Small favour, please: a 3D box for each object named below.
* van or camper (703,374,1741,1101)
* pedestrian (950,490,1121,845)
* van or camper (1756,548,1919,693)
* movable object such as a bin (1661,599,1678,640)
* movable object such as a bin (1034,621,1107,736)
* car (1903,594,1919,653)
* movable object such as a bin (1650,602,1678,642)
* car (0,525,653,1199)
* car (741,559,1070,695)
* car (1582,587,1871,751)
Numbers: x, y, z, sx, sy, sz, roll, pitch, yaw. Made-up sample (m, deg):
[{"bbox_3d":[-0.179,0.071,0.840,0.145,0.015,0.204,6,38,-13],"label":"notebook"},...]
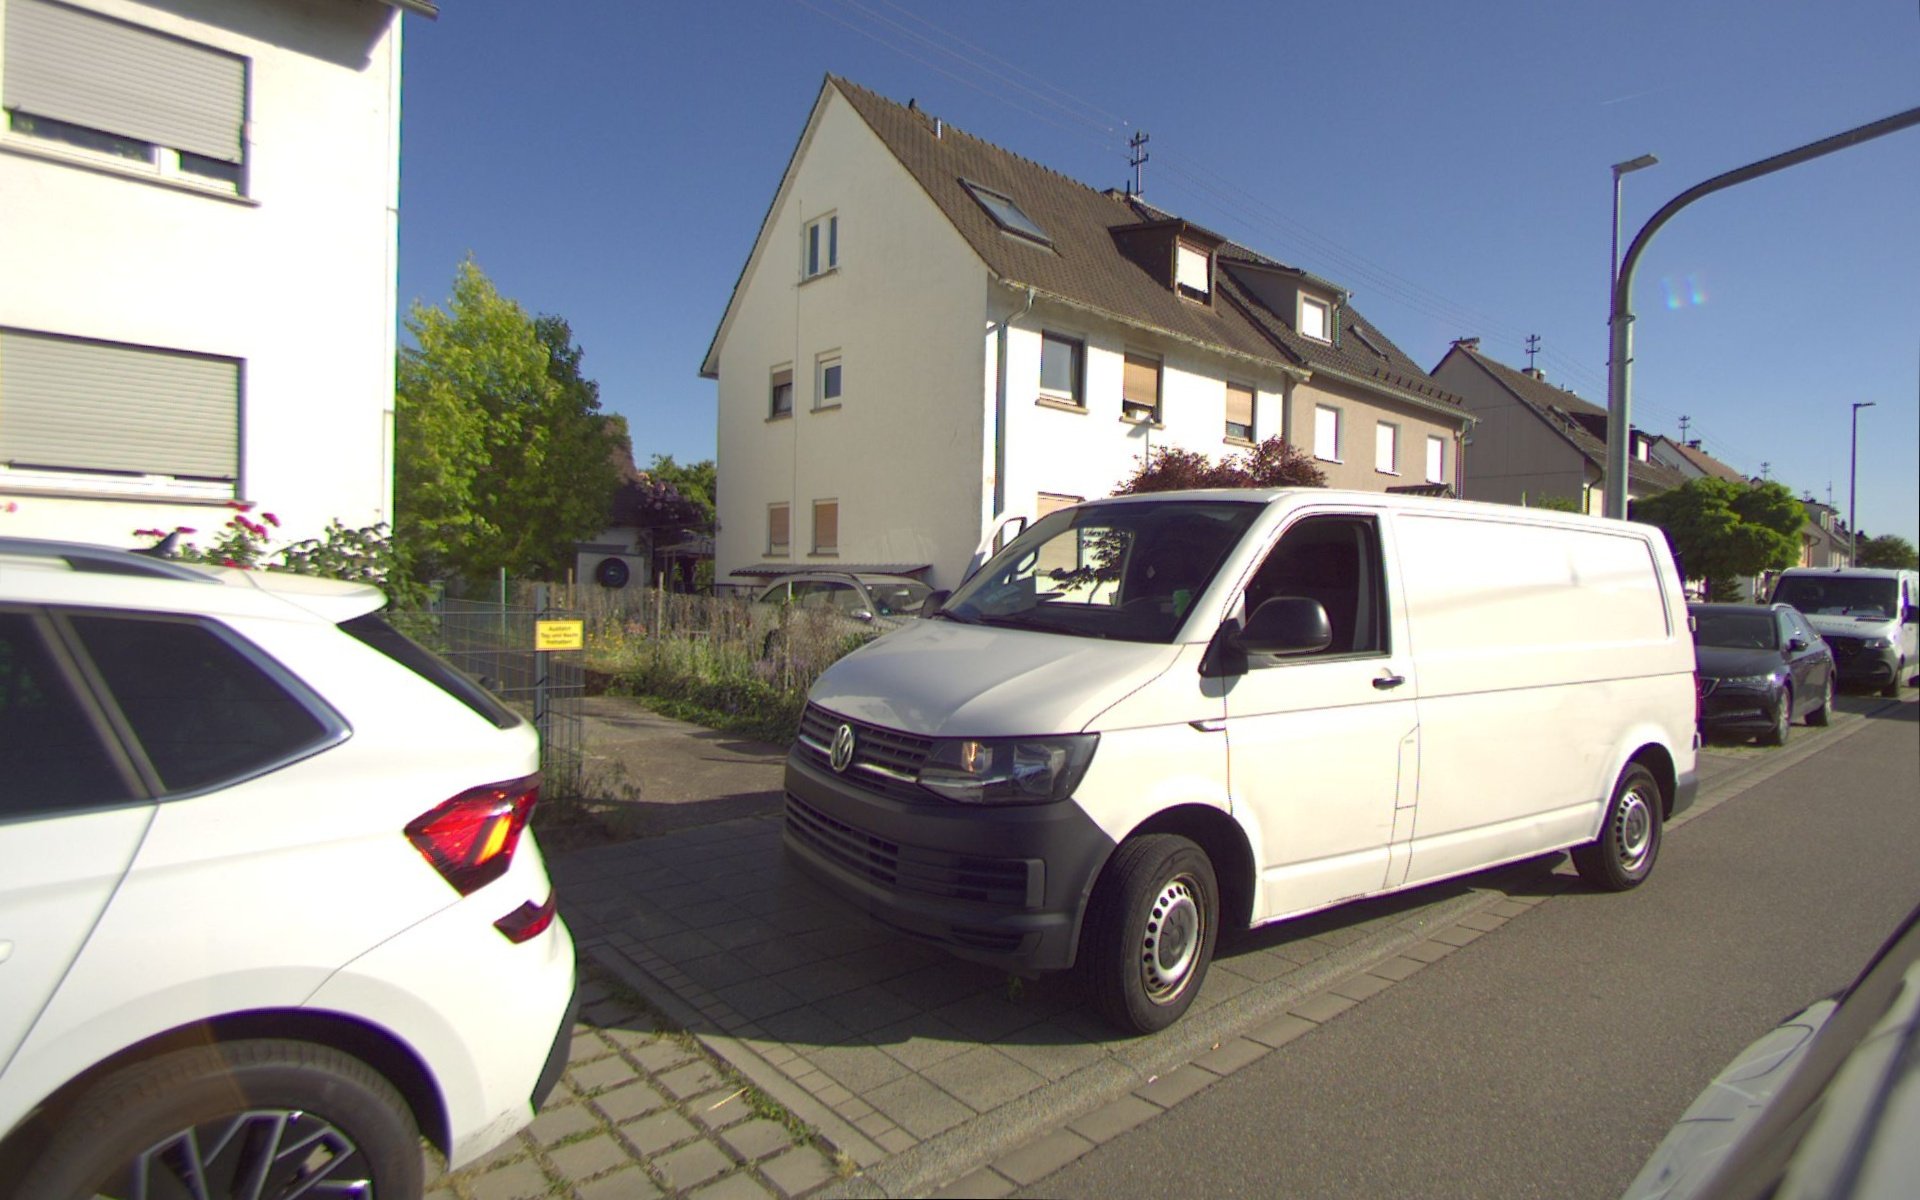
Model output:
[{"bbox_3d":[1.605,0.370,5.048,5.192,1.981,2.036,1,1,-34],"label":"van or camper"},{"bbox_3d":[0.441,0.364,6.009,0.744,1.936,0.701,0,0,-33],"label":"pedestrian"},{"bbox_3d":[17.016,0.284,19.082,6.195,2.298,1.997,0,3,-42],"label":"van or camper"},{"bbox_3d":[19.367,0.535,27.614,0.276,1.109,0.328,1,1,19],"label":"movable object such as a bin"},{"bbox_3d":[0.934,0.641,8.518,0.586,0.921,0.288,0,0,-39],"label":"movable object such as a bin"},{"bbox_3d":[29.159,0.702,29.709,4.244,1.665,1.729,0,3,-42],"label":"car"},{"bbox_3d":[19.345,0.603,27.812,0.456,1.057,0.516,1,1,-42],"label":"movable object such as a bin"},{"bbox_3d":[-2.744,0.619,1.458,4.085,1.511,1.660,0,2,-40],"label":"car"},{"bbox_3d":[-0.916,0.214,13.639,1.875,1.495,4.718,-1,2,-42],"label":"car"},{"bbox_3d":[9.330,0.656,12.133,5.066,1.512,1.752,0,3,-42],"label":"car"}]
